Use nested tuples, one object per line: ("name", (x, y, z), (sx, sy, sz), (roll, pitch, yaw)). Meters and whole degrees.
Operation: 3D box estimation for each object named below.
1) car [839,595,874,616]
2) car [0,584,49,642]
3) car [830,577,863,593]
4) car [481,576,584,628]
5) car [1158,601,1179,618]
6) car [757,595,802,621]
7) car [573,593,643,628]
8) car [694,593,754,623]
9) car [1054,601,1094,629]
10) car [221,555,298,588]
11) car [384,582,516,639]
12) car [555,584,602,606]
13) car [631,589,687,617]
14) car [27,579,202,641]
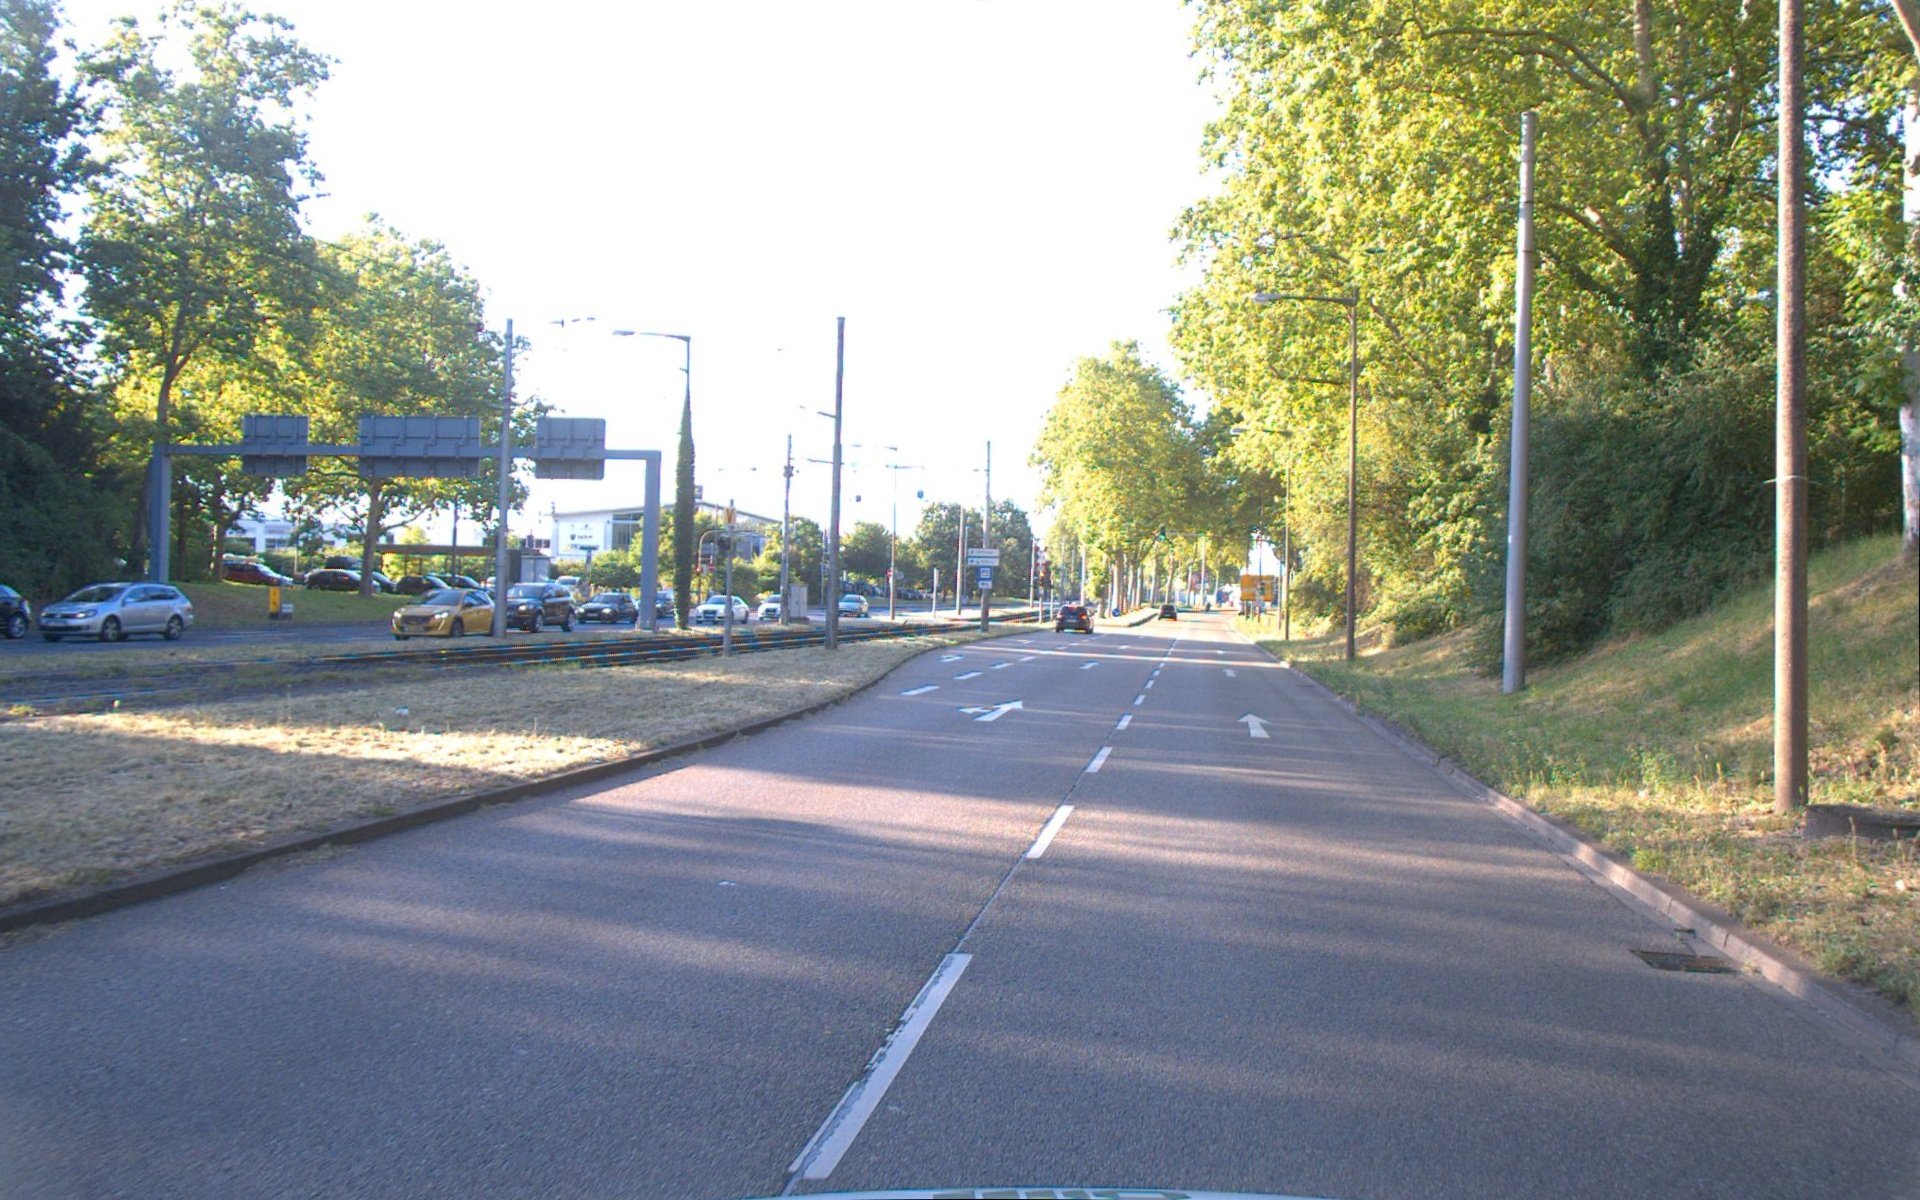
("car", (-7.296, 0.399, 116.736), (1.618, 1.440, 4.262), (2, 0, 8))
("car", (-25.085, 0.305, 41.534), (1.650, 1.440, 4.195), (2, -1, 7))
("car", (-11.450, -1.501, 166.675), (3.076, 1.416, 1.456), (3, 0, 5))
("car", (-15.139, 0.087, 58.843), (1.799, 1.683, 4.439), (3, 0, 10))
("car", (19.316, 0.899, 153.454), (1.754, 1.427, 3.692), (2, -1, 9))
("car", (-10.614, 0.448, 97.506), (1.618, 1.440, 4.262), (2, 0, 7))
("car", (-16.618, 0.486, 78.297), (1.799, 1.507, 4.439), (3, 0, 8))
("car", (-11.895, 0.400, 83.645), (1.799, 1.440, 4.603), (1, 0, 7))
("car", (5.991, 0.801, 86.797), (1.754, 1.427, 3.691), (1, -1, 9))
("car", (-43.567, -1.758, 102.913), (3.902, 1.892, 2.002), (2, 0, 11))
("car", (-13.961, 0.297, 45.507), (1.799, 1.440, 4.022), (2, -1, 10))
("car", (-27.818, -0.354, 120.799), (1.802, 1.467, 4.003), (3, 0, 11))
("car", (-17.300, 0.190, 95.314), (1.799, 1.507, 4.603), (3, 0, 8))
("car", (-21.571, 0.282, 42.417), (1.650, 1.440, 4.441), (2, -1, 9))
